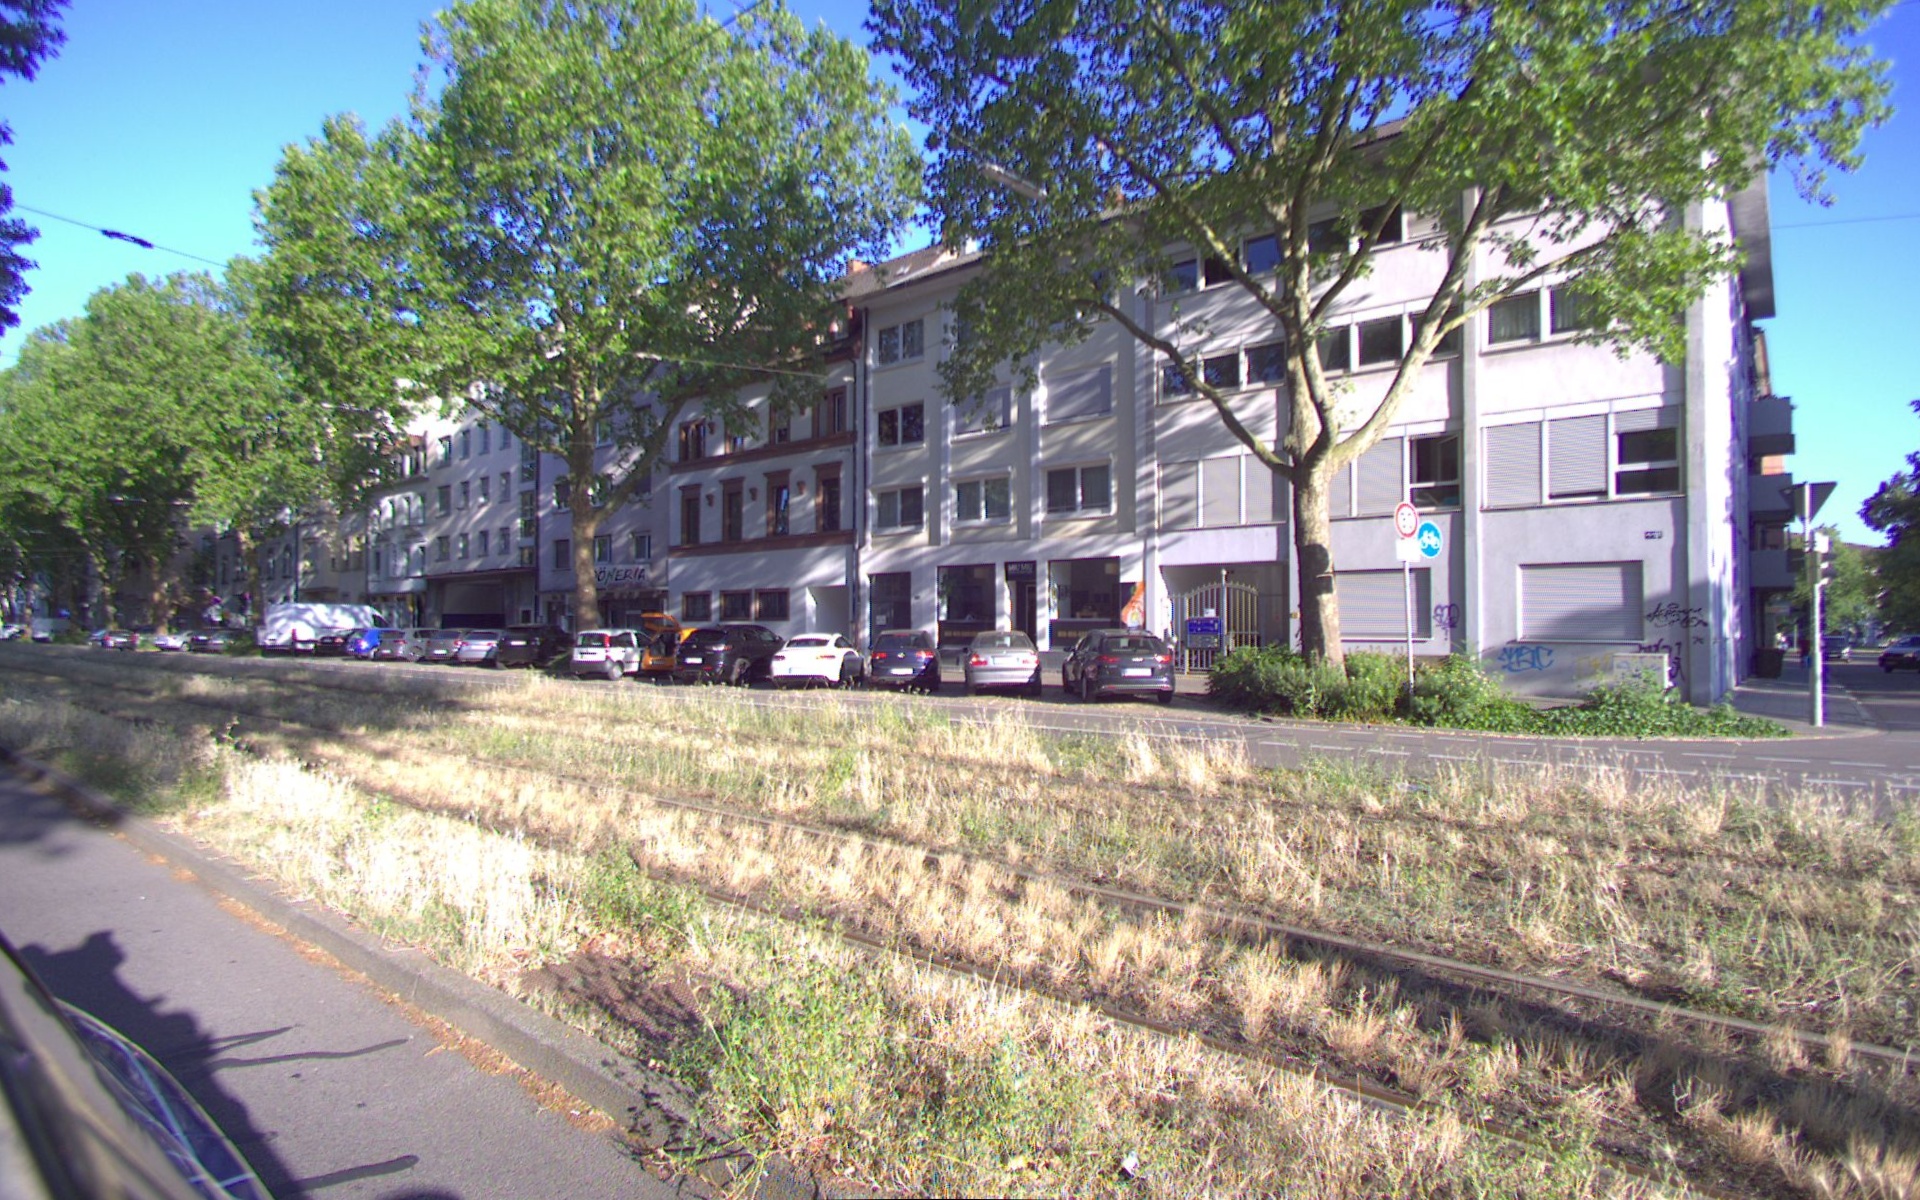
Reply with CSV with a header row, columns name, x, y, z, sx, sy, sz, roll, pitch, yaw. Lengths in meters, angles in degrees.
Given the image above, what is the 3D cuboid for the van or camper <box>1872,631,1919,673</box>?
name,x,y,z,sx,sy,sz,roll,pitch,yaw
van or camper,48.827,2.576,50.464,5.056,2.029,2.002,0,-2,-5

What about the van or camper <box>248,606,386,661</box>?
name,x,y,z,sx,sy,sz,roll,pitch,yaw
van or camper,-33.109,1.734,52.369,2.162,2.666,5.929,-1,-2,19

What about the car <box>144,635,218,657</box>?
name,x,y,z,sx,sy,sz,roll,pitch,yaw
car,-51.782,3.063,67.340,1.806,1.400,3.670,0,-2,9

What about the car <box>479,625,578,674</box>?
name,x,y,z,sx,sy,sz,roll,pitch,yaw
car,-15.683,1.758,37.017,1.972,1.673,4.000,-1,-1,-1

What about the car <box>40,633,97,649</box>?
name,x,y,z,sx,sy,sz,roll,pitch,yaw
car,-86.009,3.976,97.689,1.709,1.256,3.993,-1,1,6

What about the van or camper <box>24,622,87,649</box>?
name,x,y,z,sx,sy,sz,roll,pitch,yaw
van or camper,-88.315,3.446,98.894,2.171,2.418,4.364,-1,1,0

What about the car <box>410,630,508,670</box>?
name,x,y,z,sx,sy,sz,roll,pitch,yaw
car,-20.538,2.012,41.667,1.735,1.433,3.993,-1,0,6

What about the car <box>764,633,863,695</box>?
name,x,y,z,sx,sy,sz,roll,pitch,yaw
car,-3.762,1.635,26.690,1.700,1.343,4.200,-1,0,4

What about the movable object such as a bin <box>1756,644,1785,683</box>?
name,x,y,z,sx,sy,sz,roll,pitch,yaw
movable object such as a bin,27.825,2.170,34.734,0.745,1.315,0.861,-2,-2,39

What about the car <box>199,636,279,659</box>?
name,x,y,z,sx,sy,sz,roll,pitch,yaw
car,-42.999,2.845,60.444,1.778,1.368,4.002,0,-3,3

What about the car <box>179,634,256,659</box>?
name,x,y,z,sx,sy,sz,roll,pitch,yaw
car,-47.725,3.009,65.174,1.803,1.545,3.994,0,-3,4

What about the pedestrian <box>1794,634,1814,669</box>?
name,x,y,z,sx,sy,sz,roll,pitch,yaw
pedestrian,43.478,2.652,52.110,0.687,1.764,0.635,-1,-2,34

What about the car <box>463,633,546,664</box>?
name,x,y,z,sx,sy,sz,roll,pitch,yaw
car,-26.568,2.835,59.098,1.904,1.733,3.948,-1,-2,39

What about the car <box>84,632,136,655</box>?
name,x,y,z,sx,sy,sz,roll,pitch,yaw
car,-56.648,2.890,67.404,4.480,1.400,1.802,-2,-4,40

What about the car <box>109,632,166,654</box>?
name,x,y,z,sx,sy,sz,roll,pitch,yaw
car,-63.504,3.310,78.206,1.703,1.666,4.008,0,-2,-10

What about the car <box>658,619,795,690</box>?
name,x,y,z,sx,sy,sz,roll,pitch,yaw
car,-6.461,1.550,28.603,1.975,1.800,4.343,1,-3,14

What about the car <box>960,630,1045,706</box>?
name,x,y,z,sx,sy,sz,roll,pitch,yaw
car,0.898,1.489,23.275,1.698,1.452,4.000,-1,0,-1

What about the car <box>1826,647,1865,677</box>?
name,x,y,z,sx,sy,sz,roll,pitch,yaw
car,63.367,4.396,72.449,1.999,2.029,3.945,-2,-2,41

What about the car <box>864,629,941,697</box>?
name,x,y,z,sx,sy,sz,roll,pitch,yaw
car,-1.443,1.535,25.680,1.776,1.452,4.002,-1,0,-3

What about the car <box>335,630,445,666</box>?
name,x,y,z,sx,sy,sz,roll,pitch,yaw
car,-25.975,2.137,46.198,1.854,1.431,3.951,-1,0,36

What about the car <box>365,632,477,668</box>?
name,x,y,z,sx,sy,sz,roll,pitch,yaw
car,-23.601,2.183,44.433,1.941,1.503,3.964,-1,-2,27

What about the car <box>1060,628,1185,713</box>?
name,x,y,z,sx,sy,sz,roll,pitch,yaw
car,3.293,1.395,21.285,1.791,1.490,4.002,-1,0,-2

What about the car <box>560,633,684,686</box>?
name,x,y,z,sx,sy,sz,roll,pitch,yaw
car,-10.463,1.789,31.693,1.643,1.460,4.345,0,-1,14

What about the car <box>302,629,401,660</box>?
name,x,y,z,sx,sy,sz,roll,pitch,yaw
car,-30.744,2.242,51.258,1.984,1.502,3.975,-1,-3,18

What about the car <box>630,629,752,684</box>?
name,x,y,z,sx,sy,sz,roll,pitch,yaw
car,-8.362,1.719,31.792,1.764,1.490,3.974,-1,0,20

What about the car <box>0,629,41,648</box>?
name,x,y,z,sx,sy,sz,roll,pitch,yaw
car,-107.371,4.401,115.156,1.971,2.029,4.002,-1,0,-2

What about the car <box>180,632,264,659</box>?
name,x,y,z,sx,sy,sz,roll,pitch,yaw
car,-45.527,2.824,62.546,1.912,1.605,4.155,0,-4,4

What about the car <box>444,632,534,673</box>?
name,x,y,z,sx,sy,sz,roll,pitch,yaw
car,-18.292,2.010,39.493,1.883,1.396,4.004,-1,-1,-5
